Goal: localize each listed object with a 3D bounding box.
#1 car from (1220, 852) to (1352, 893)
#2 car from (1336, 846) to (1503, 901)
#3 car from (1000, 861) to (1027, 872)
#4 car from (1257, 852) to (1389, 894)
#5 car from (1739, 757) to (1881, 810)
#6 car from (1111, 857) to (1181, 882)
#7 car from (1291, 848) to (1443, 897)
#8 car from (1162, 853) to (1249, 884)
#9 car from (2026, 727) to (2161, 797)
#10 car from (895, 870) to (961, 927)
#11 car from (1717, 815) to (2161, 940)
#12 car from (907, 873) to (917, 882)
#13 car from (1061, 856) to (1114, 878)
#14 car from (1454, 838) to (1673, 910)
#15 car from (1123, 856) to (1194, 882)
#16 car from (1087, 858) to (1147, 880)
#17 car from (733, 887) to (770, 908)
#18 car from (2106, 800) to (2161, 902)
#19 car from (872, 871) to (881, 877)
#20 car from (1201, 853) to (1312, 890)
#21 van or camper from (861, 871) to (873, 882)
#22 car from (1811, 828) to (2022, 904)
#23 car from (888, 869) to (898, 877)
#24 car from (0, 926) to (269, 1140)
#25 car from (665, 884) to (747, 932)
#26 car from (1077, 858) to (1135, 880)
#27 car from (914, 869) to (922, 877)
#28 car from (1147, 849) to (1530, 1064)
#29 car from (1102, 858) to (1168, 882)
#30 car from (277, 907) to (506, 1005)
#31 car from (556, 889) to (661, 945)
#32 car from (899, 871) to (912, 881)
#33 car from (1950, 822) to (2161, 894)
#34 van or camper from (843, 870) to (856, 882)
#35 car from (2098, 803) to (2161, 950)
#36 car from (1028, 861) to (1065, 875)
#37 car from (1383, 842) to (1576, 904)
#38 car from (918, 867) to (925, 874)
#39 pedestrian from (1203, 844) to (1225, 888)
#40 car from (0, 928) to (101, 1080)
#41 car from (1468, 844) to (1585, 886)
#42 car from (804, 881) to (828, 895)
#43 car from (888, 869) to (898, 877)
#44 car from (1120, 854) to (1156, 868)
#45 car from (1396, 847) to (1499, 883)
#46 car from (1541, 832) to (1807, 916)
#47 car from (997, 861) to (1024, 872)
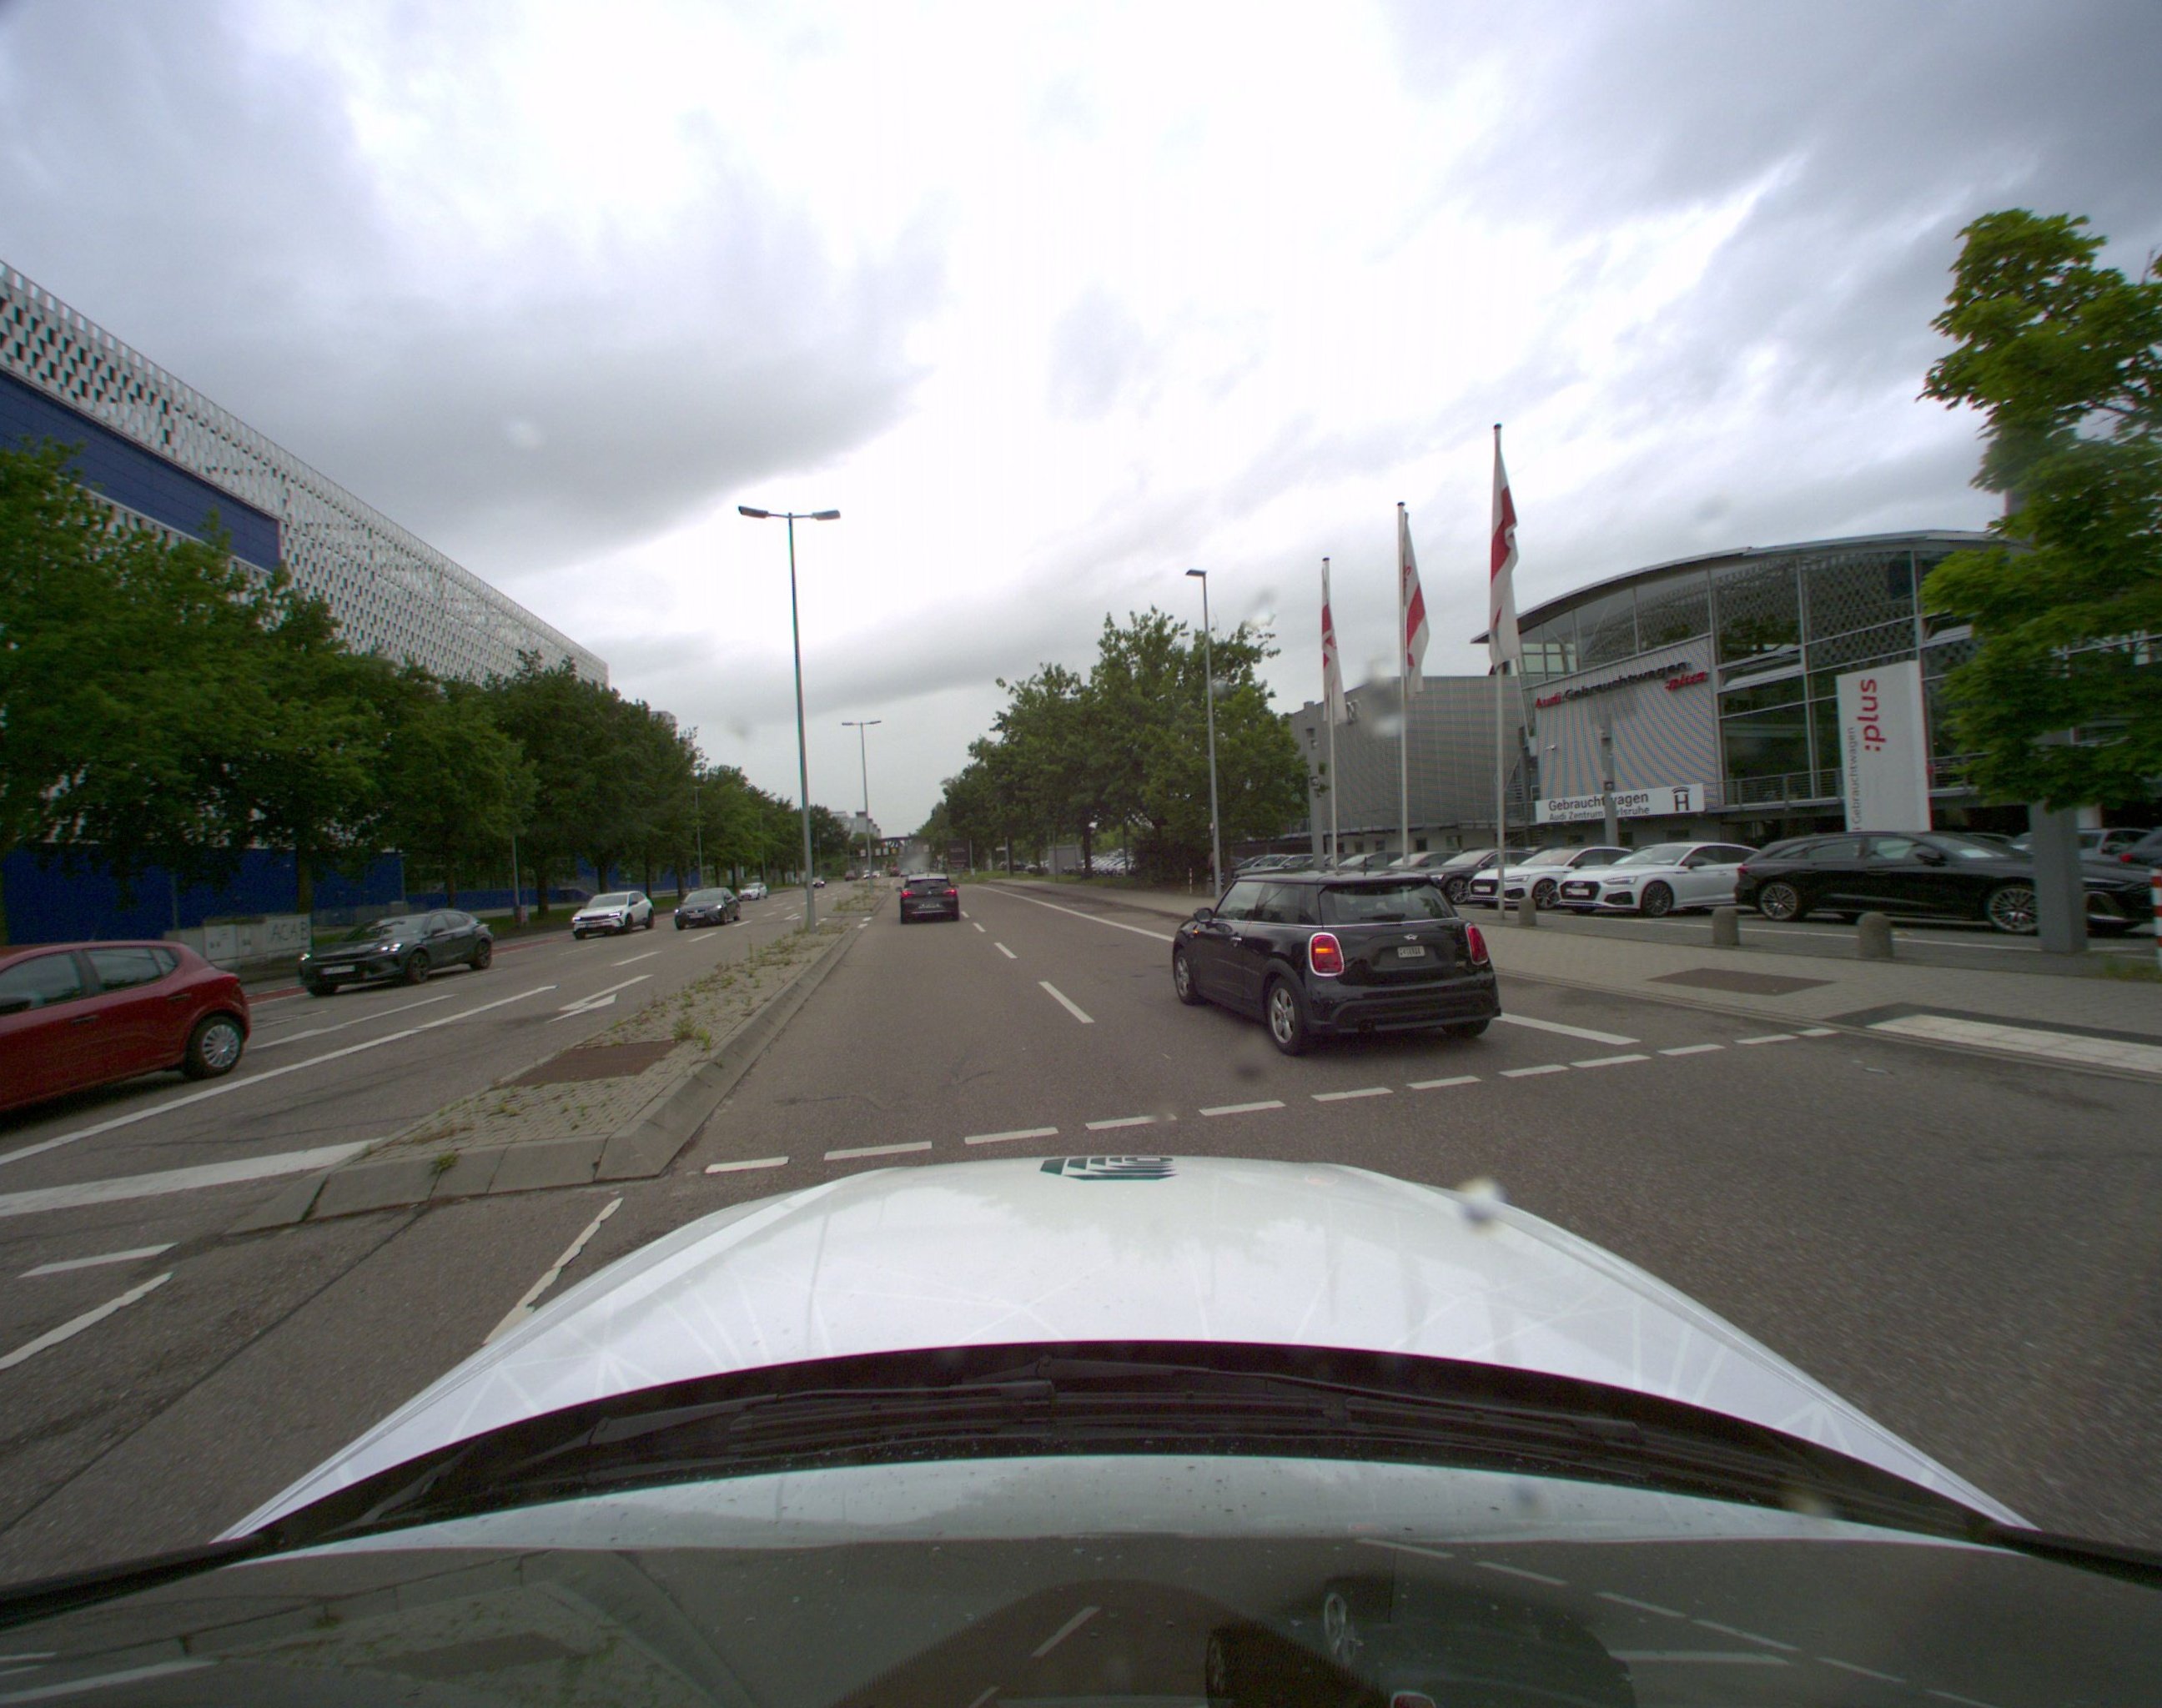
[{"bbox_3d":[7.978,0.700,31.799,4.653,1.472,1.840,-1,0,-13],"label":"car"},{"bbox_3d":[9.800,0.533,23.703,4.180,1.486,1.900,0,-1,-13],"label":"car"},{"bbox_3d":[-10.007,1.910,121.346,3.981,1.435,1.727,-2,1,-6],"label":"car"},{"bbox_3d":[8.649,0.654,29.201,4.157,1.391,1.895,0,-1,-12],"label":"car"},{"bbox_3d":[25.957,-2.505,29.017,3.992,1.661,1.817,-2,1,-13],"label":"car"},{"bbox_3d":[4.263,1.004,53.579,4.199,1.486,1.951,2,0,-13],"label":"car"},{"bbox_3d":[9.273,0.587,26.522,4.369,1.471,1.886,0,-1,-13],"label":"car"},{"bbox_3d":[6.579,0.766,43.260,4.126,1.394,1.863,3,0,-13],"label":"car"},{"bbox_3d":[28.285,-2.486,22.094,3.992,1.661,1.817,-2,1,-13],"label":"car"},{"bbox_3d":[-4.606,1.292,25.007,1.756,1.434,3.988,-4,1,-9],"label":"car"},{"bbox_3d":[12.553,0.324,12.171,1.887,1.486,4.737,0,-1,-11],"label":"car"},{"bbox_3d":[-37.822,5.252,182.823,1.950,1.815,3.987,-2,1,-9],"label":"car"},{"bbox_3d":[0.570,1.168,73.775,4.551,1.702,1.993,2,0,-11],"label":"car"},{"bbox_3d":[10.780,0.419,18.327,4.033,1.486,1.869,0,-1,-12],"label":"car"},{"bbox_3d":[4.864,0.931,51.054,4.067,1.486,1.811,2,0,-13],"label":"car"},{"bbox_3d":[2.705,1.135,61.235,4.176,1.456,1.927,2,0,-11],"label":"car"},{"bbox_3d":[-29.063,3.785,71.929,1.856,1.462,4.320,-5,1,-8],"label":"car"},{"bbox_3d":[21.818,-0.142,13.993,1.994,1.939,4.800,-3,-1,-10],"label":"car"},{"bbox_3d":[-51.627,5.051,205.764,1.754,1.446,3.329,-2,1,-9],"label":"car"},{"bbox_3d":[7.424,0.728,34.566,4.207,1.421,1.848,-1,-1,-13],"label":"car"},{"bbox_3d":[-41.561,4.359,158.103,1.757,1.746,4.389,-7,1,-11],"label":"van or camper"},{"bbox_3d":[21.509,0.258,21.016,4.308,1.695,1.803,-2,1,-12],"label":"car"},{"bbox_3d":[-44.540,4.470,193.390,1.950,1.815,3.987,-2,1,-9],"label":"car"},{"bbox_3d":[-9.141,1.500,6.527,1.737,1.487,4.060,-5,-1,-13],"label":"car"},{"bbox_3d":[-14.462,2.031,31.650,1.859,1.462,4.314,-5,1,-12],"label":"car"},{"bbox_3d":[2.033,1.216,66.358,4.395,1.520,1.993,2,0,-11],"label":"car"},{"bbox_3d":[-42.262,4.944,211.473,1.950,1.815,3.987,-2,1,-9],"label":"car"},{"bbox_3d":[2.053,0.803,7.667,1.788,1.416,3.626,-3,-2,-13],"label":"car"},{"bbox_3d":[3.692,1.083,56.061,4.184,1.486,1.969,2,0,-12],"label":"car"},{"bbox_3d":[-14.890,2.104,17.997,1.883,1.544,4.577,-5,-1,-13],"label":"car"},{"bbox_3d":[-18.034,2.339,31.351,1.995,1.594,4.558,-7,1,-12],"label":"car"},{"bbox_3d":[-33.487,4.121,155.136,2.135,1.661,3.770,-2,1,-9],"label":"car"},{"bbox_3d":[22.259,0.065,18.219,4.251,1.486,1.921,0,1,-12],"label":"car"},{"bbox_3d":[-42.727,4.053,150.444,1.877,1.986,4.869,-4,0,-12],"label":"van or camper"},{"bbox_3d":[13.253,0.188,8.168,4.507,1.486,2.060,0,-2,-14],"label":"car"},{"bbox_3d":[-4.057,1.626,95.515,4.090,1.435,1.814,-2,1,-13],"label":"car"},{"bbox_3d":[10.225,0.473,21.027,4.220,1.486,1.864,0,-1,-11],"label":"car"},{"bbox_3d":[-47.502,4.789,242.344,1.950,1.815,3.987,-2,1,-9],"label":"car"},{"bbox_3d":[5.816,0.526,35.583,0.672,1.871,0.716,-1,-1,-12],"label":"pedestrian"},{"bbox_3d":[-12.864,1.784,7.938,1.883,1.637,4.313,-6,0,-13],"label":"car"},{"bbox_3d":[18.657,0.426,34.171,4.106,1.544,1.809,-2,1,-13],"label":"car"},{"bbox_3d":[-34.483,4.360,106.009,1.915,1.502,4.244,-6,-1,-5],"label":"car"},{"bbox_3d":[-43.200,4.384,186.879,1.884,1.661,3.770,-2,1,-9],"label":"car"},{"bbox_3d":[6.869,0.801,98.379,4.090,1.435,1.722,-2,1,-13],"label":"car"},{"bbox_3d":[17.634,0.486,39.248,4.343,1.486,1.733,-2,1,-13],"label":"car"},{"bbox_3d":[11.445,0.352,15.836,4.186,1.486,1.845,0,-1,-11],"label":"car"},{"bbox_3d":[-10.649,1.849,123.609,3.981,1.435,1.727,-2,1,-6],"label":"car"}]
